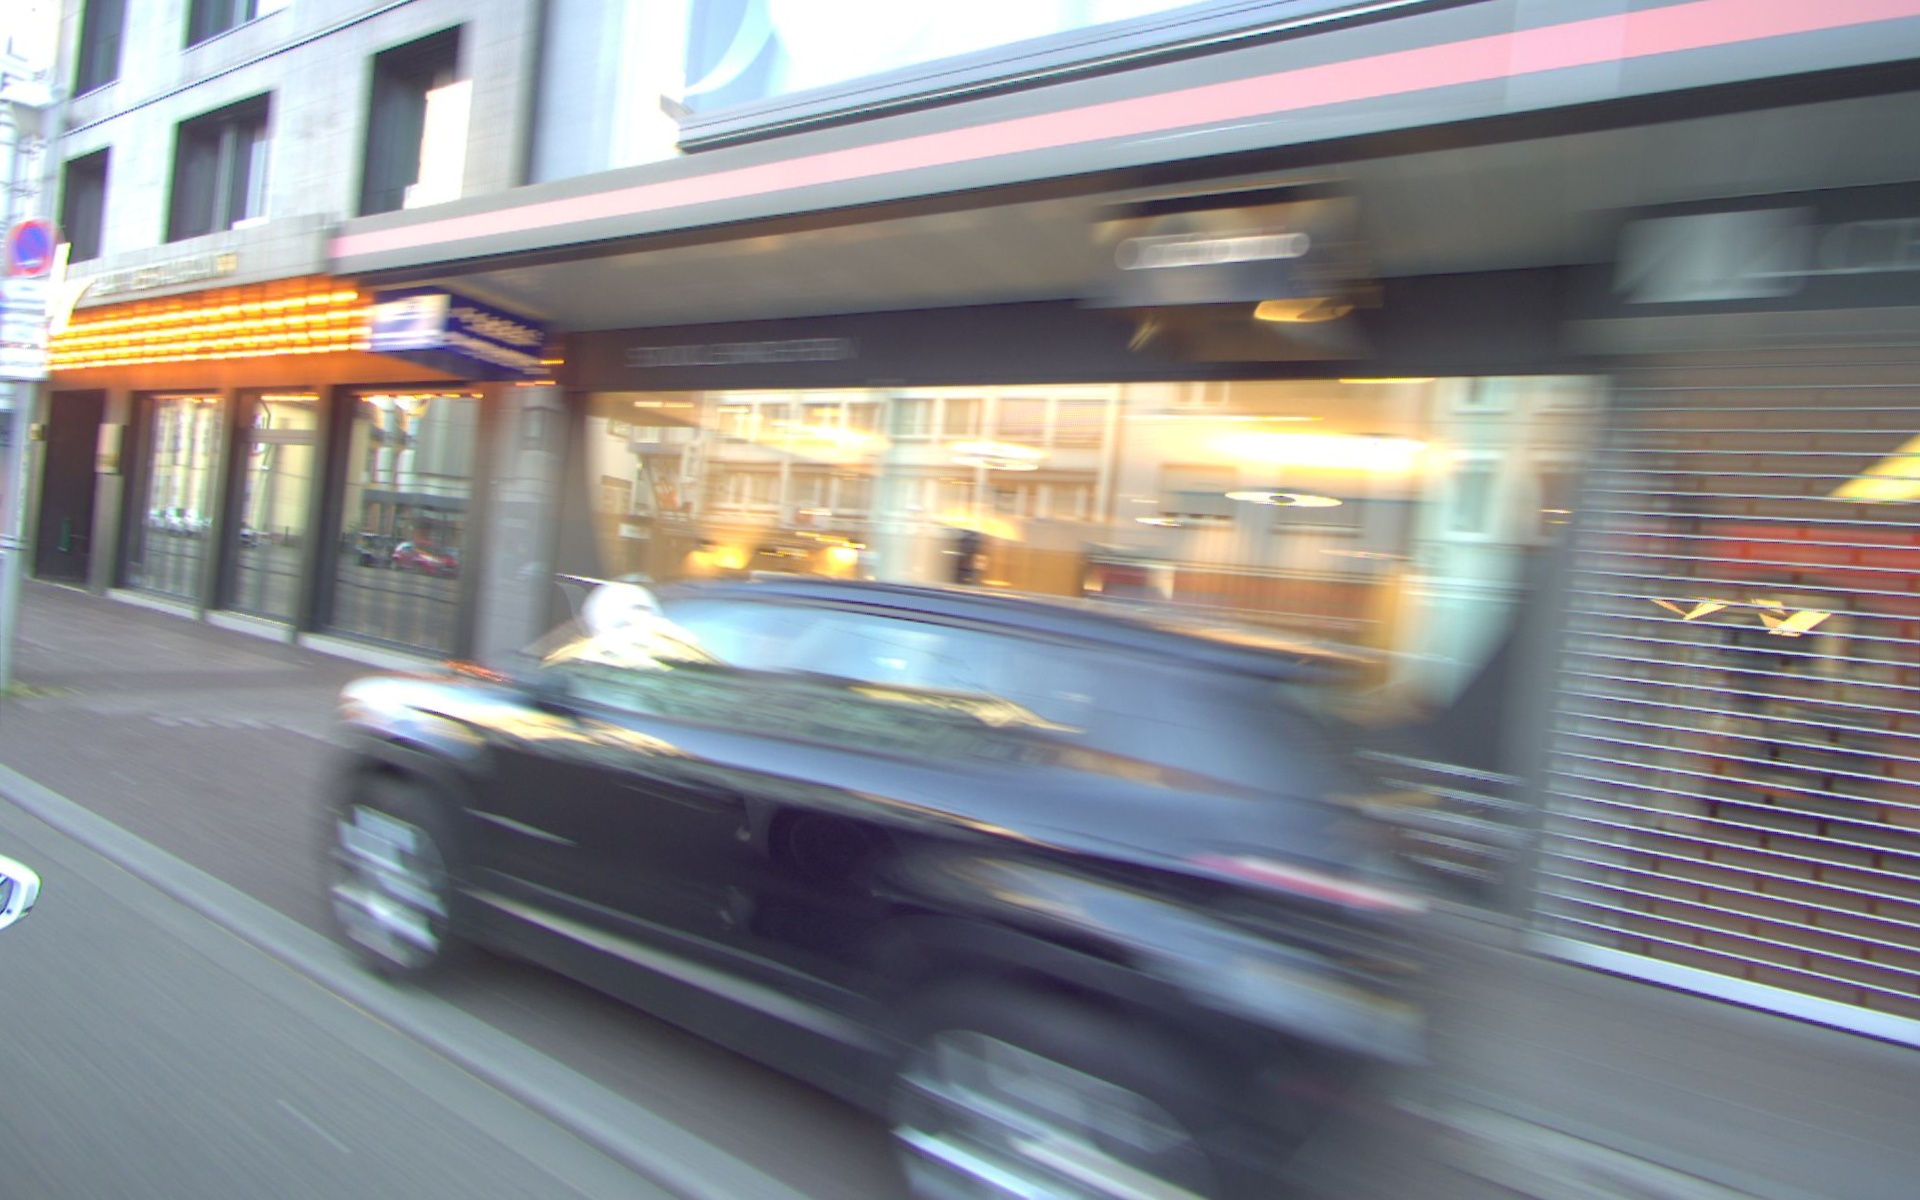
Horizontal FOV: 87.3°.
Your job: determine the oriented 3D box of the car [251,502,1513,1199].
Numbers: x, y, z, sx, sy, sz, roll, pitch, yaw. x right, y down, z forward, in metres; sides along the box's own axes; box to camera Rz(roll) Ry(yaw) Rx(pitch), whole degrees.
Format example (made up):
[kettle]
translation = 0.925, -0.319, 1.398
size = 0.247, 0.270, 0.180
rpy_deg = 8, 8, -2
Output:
[car]
translation = -0.438, 0.651, 3.435
size = 3.900, 1.560, 1.742
rpy_deg = 6, 0, 31
